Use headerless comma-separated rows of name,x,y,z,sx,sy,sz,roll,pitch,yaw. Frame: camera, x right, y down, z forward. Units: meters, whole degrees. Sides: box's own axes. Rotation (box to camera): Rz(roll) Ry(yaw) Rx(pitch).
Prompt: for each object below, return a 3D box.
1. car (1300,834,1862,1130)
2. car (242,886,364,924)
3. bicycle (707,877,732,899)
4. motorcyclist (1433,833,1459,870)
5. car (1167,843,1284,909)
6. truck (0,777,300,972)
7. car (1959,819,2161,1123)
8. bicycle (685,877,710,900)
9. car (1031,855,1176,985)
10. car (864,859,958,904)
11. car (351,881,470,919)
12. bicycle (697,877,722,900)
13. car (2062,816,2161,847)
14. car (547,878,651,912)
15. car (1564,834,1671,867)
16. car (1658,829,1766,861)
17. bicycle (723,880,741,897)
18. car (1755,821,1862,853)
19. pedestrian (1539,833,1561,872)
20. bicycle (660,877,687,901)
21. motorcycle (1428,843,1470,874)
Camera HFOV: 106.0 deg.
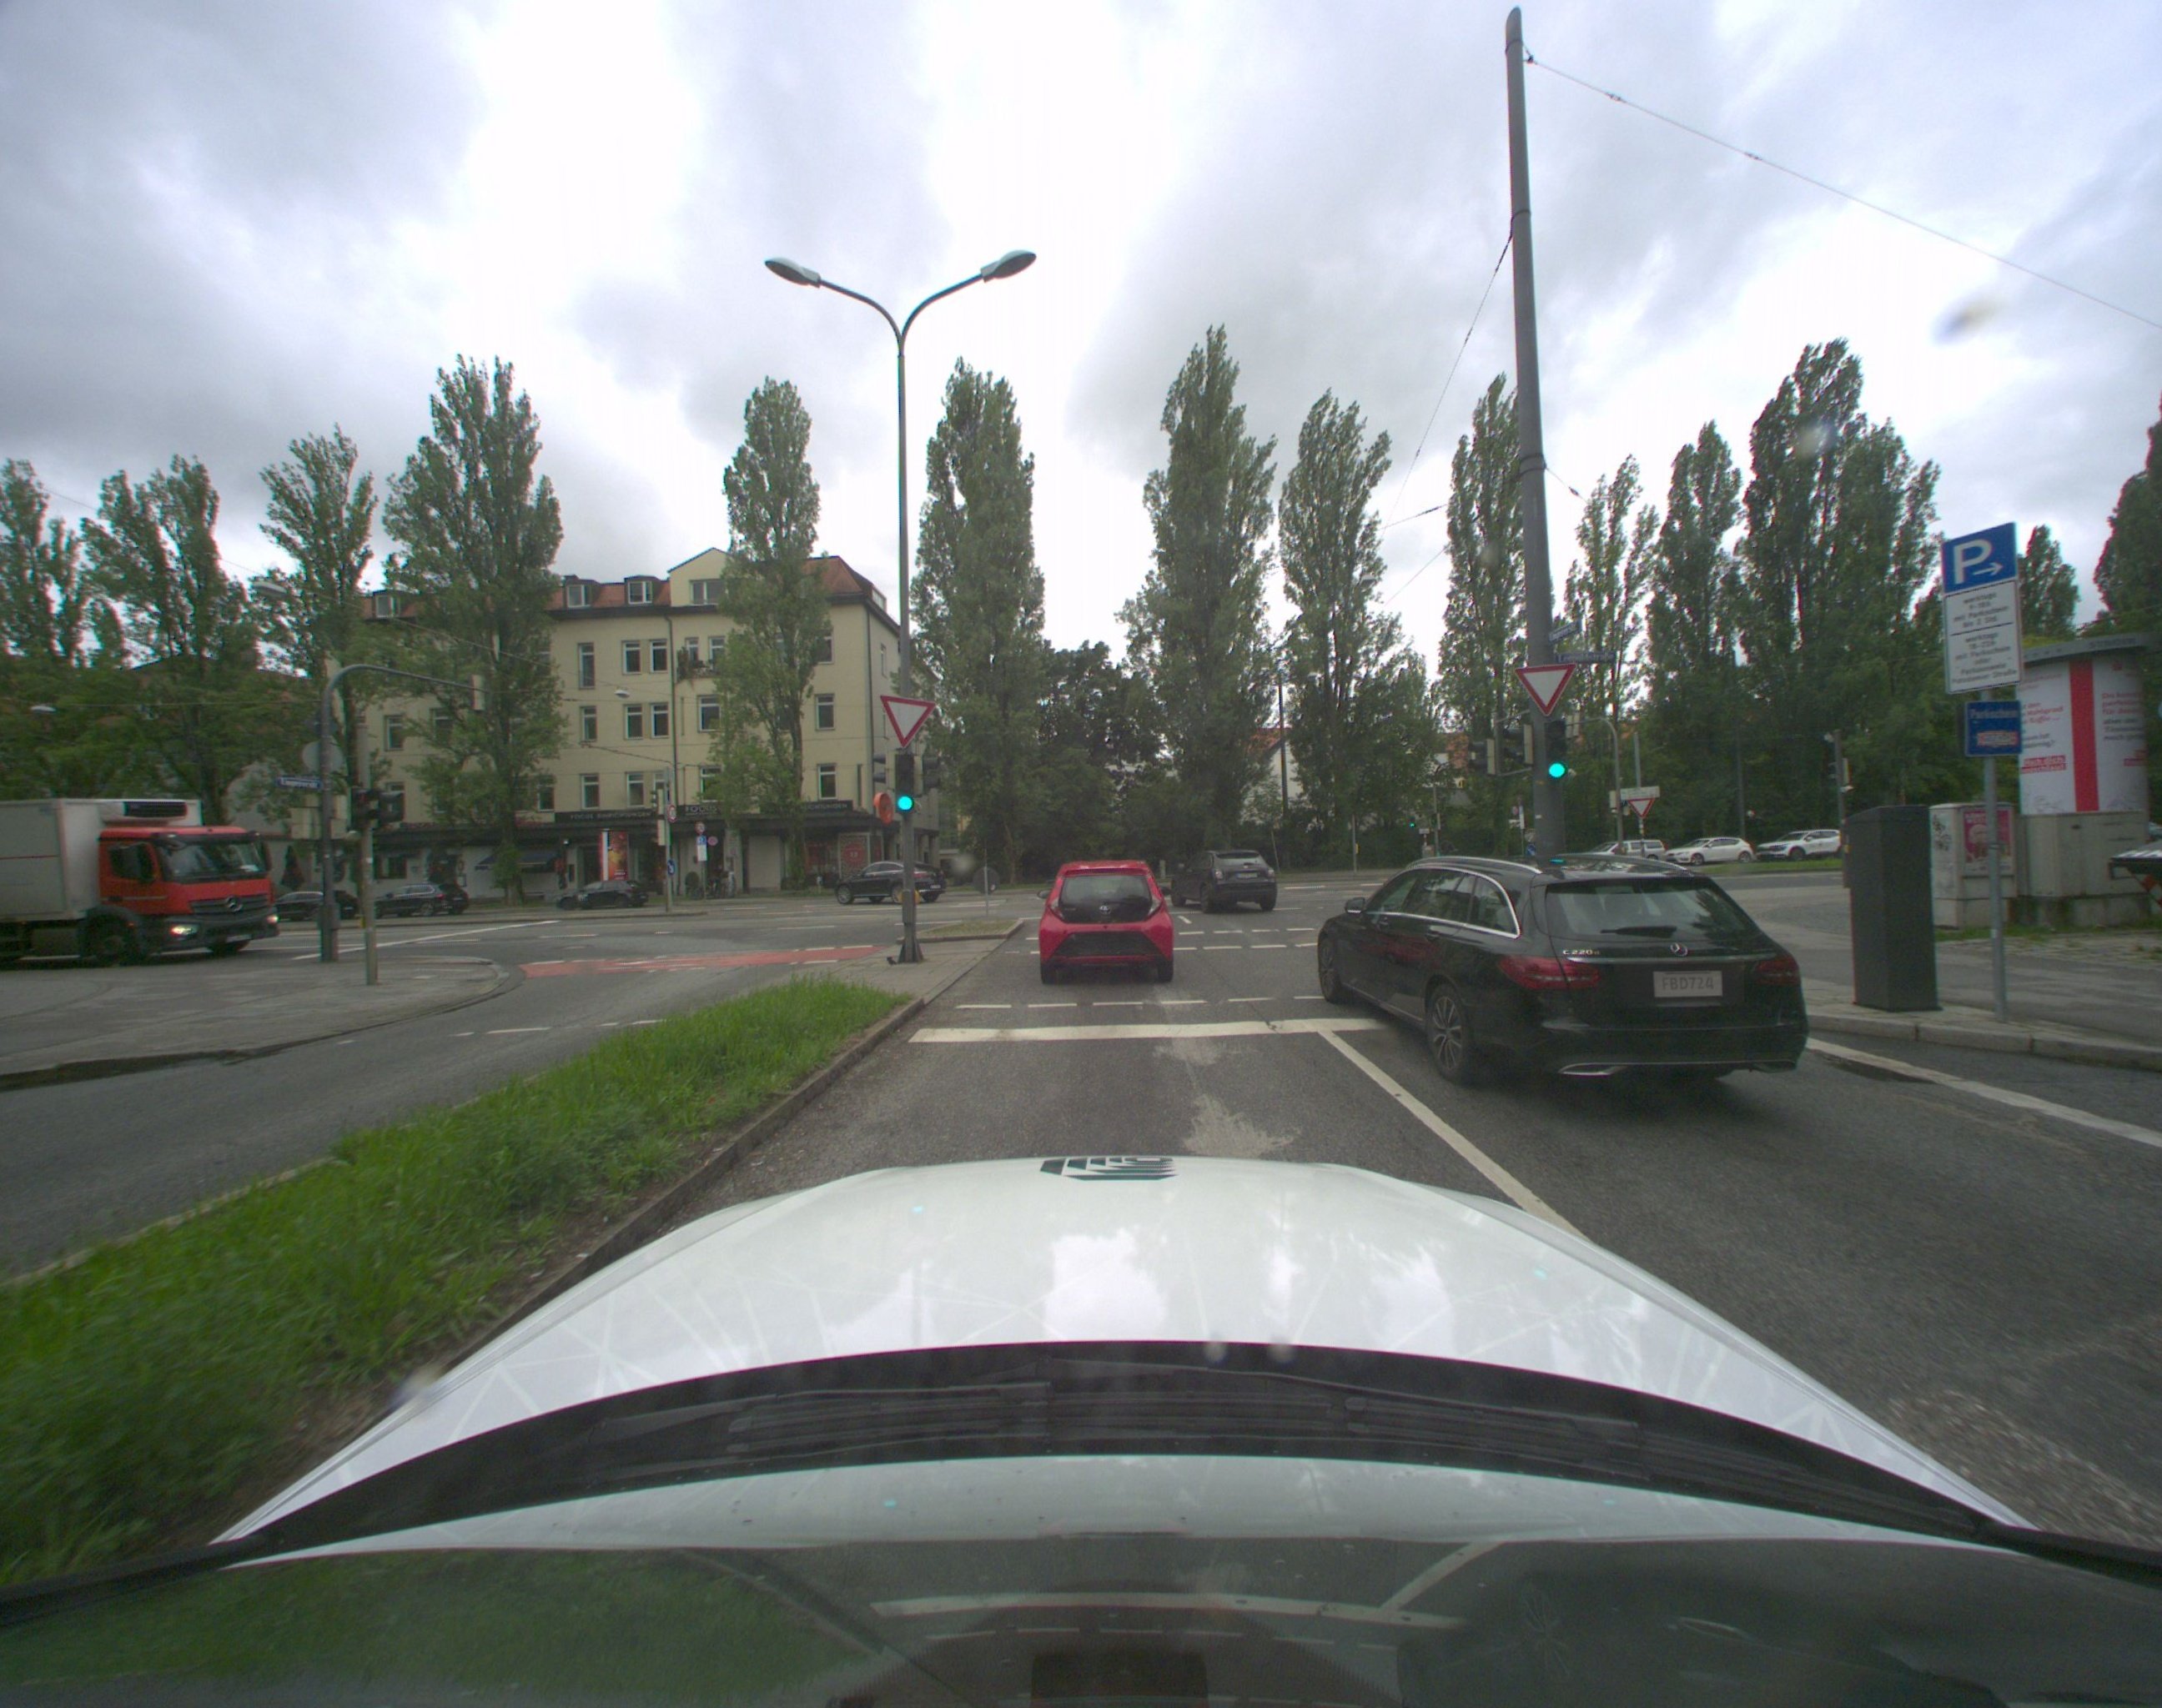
car,3.254,0.685,6.645,1.856,1.549,4.706,-1,0,2
car,-38.460,2.507,40.333,4.276,1.612,1.806,-2,0,1
bicycle,-19.785,1.857,44.595,0.493,1.082,1.888,-2,0,-1
motorcyclist,14.527,-0.076,32.415,0.617,1.443,0.881,0,-1,-3
car,3.613,0.550,21.116,1.780,1.486,3.988,-2,-1,-9
truck,-25.195,0.589,18.760,11.634,3.980,2.749,-2,1,1
car,6.334,0.565,2.805,1.823,1.549,4.558,-2,0,3
bicycle,-21.006,1.862,44.648,0.493,1.185,1.888,-2,0,-1
car,0.357,0.763,11.069,1.622,1.440,3.379,-2,0,3
car,-6.581,1.041,31.150,1.749,1.549,4.525,-2,0,-36
car,-33.048,2.269,40.211,4.440,1.612,1.727,-2,0,1
bicycle,-20.311,1.854,44.555,0.493,1.185,1.888,-2,0,-1
car,56.268,-1.234,44.167,4.116,1.486,1.785,-2,-1,-3
car,-23.785,2.007,40.281,3.977,1.466,1.804,-2,-1,-2
car,27.608,-0.148,42.017,4.324,1.486,1.786,-2,-1,0
car,32.944,-0.442,42.574,4.231,1.486,1.786,-2,-1,0
bicycle,-19.855,1.970,46.327,0.386,0.883,1.371,-2,0,-1
car,38.213,-0.886,42.820,4.116,1.486,1.785,-2,-1,-3
pedestrian,20.417,-0.053,35.432,0.693,1.662,0.555,-2,-2,42
bicycle,-22.356,1.901,44.686,0.493,1.185,1.888,-2,0,-1
motorcycle,14.536,0.193,32.216,0.627,1.169,2.027,0,-1,-3
